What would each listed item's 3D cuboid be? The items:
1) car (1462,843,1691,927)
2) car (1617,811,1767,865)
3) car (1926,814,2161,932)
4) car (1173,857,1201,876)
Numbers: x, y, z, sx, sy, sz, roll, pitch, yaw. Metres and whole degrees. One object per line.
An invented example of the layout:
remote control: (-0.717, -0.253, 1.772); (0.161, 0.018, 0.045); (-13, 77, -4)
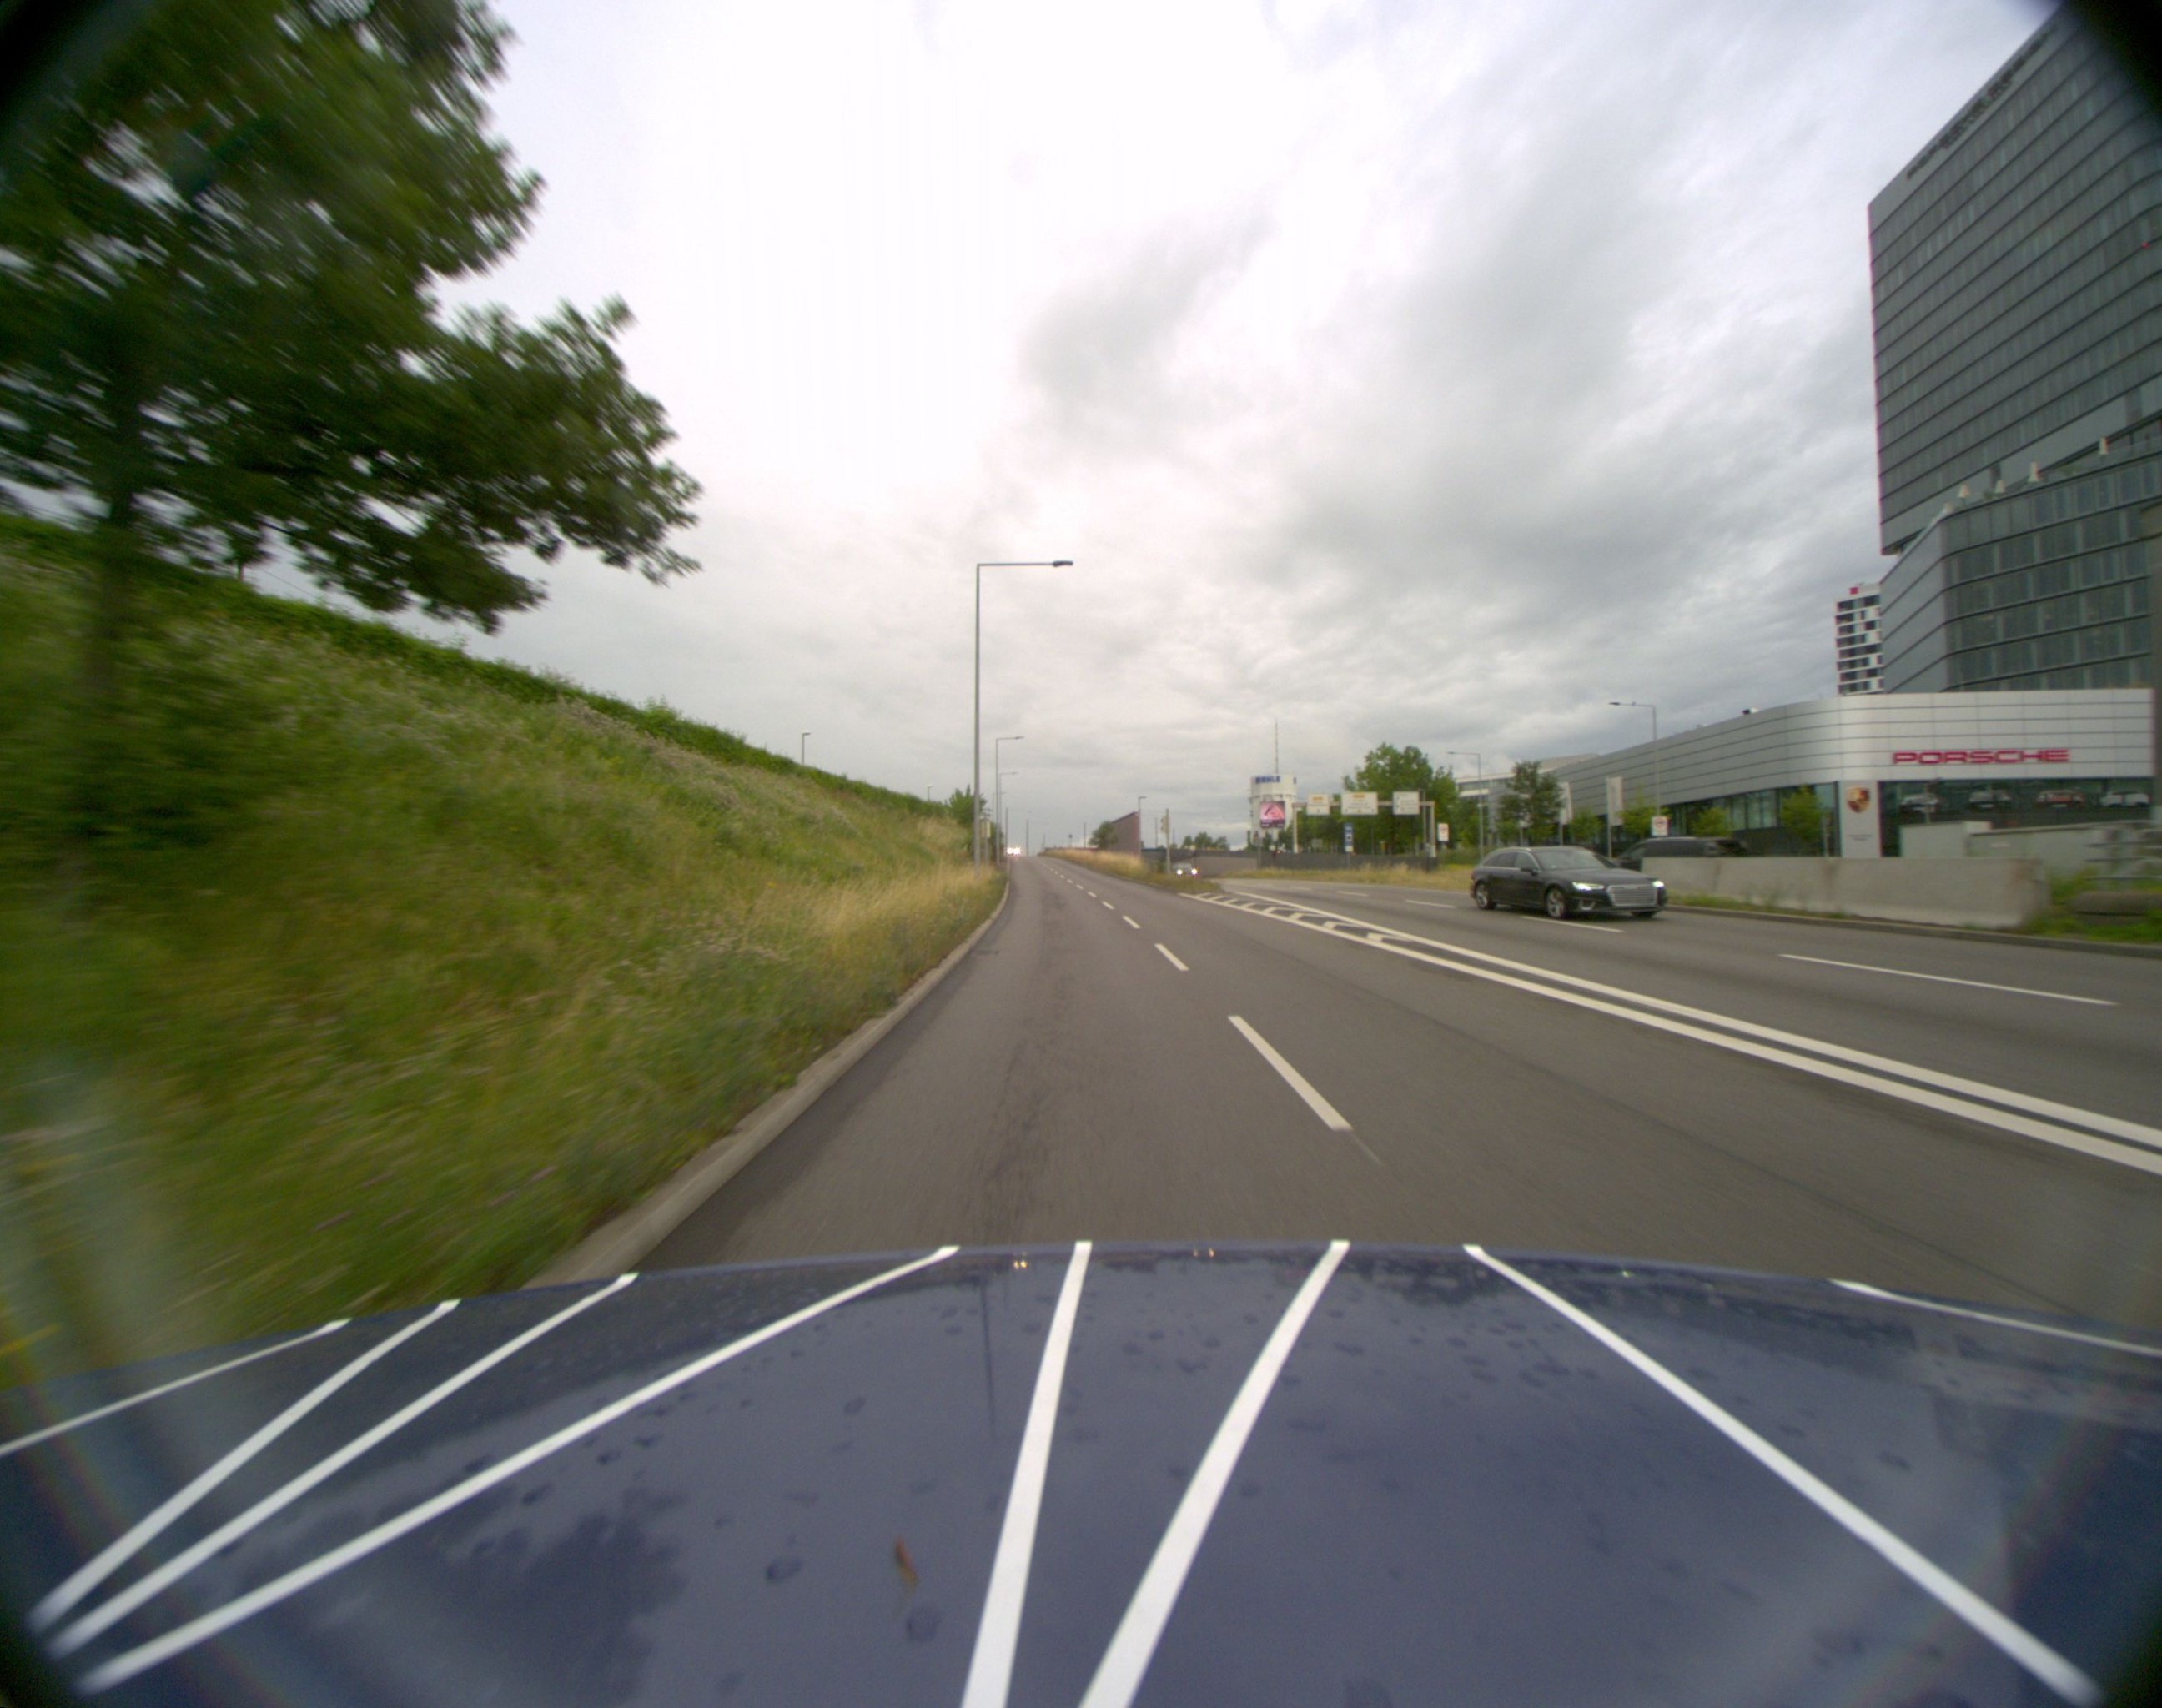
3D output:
car: (9.927, 0.536, 15.770); (1.814, 1.411, 4.632); (-3, 0, 2)
car: (22.964, -0.570, 28.822); (1.815, 1.819, 4.630); (-3, 0, -2)
car: (15.279, 0.262, 11.166); (1.692, 1.580, 3.550); (-3, -2, 1)
car: (9.410, 1.083, 67.498); (1.872, 1.622, 3.999); (-2, 0, 0)
